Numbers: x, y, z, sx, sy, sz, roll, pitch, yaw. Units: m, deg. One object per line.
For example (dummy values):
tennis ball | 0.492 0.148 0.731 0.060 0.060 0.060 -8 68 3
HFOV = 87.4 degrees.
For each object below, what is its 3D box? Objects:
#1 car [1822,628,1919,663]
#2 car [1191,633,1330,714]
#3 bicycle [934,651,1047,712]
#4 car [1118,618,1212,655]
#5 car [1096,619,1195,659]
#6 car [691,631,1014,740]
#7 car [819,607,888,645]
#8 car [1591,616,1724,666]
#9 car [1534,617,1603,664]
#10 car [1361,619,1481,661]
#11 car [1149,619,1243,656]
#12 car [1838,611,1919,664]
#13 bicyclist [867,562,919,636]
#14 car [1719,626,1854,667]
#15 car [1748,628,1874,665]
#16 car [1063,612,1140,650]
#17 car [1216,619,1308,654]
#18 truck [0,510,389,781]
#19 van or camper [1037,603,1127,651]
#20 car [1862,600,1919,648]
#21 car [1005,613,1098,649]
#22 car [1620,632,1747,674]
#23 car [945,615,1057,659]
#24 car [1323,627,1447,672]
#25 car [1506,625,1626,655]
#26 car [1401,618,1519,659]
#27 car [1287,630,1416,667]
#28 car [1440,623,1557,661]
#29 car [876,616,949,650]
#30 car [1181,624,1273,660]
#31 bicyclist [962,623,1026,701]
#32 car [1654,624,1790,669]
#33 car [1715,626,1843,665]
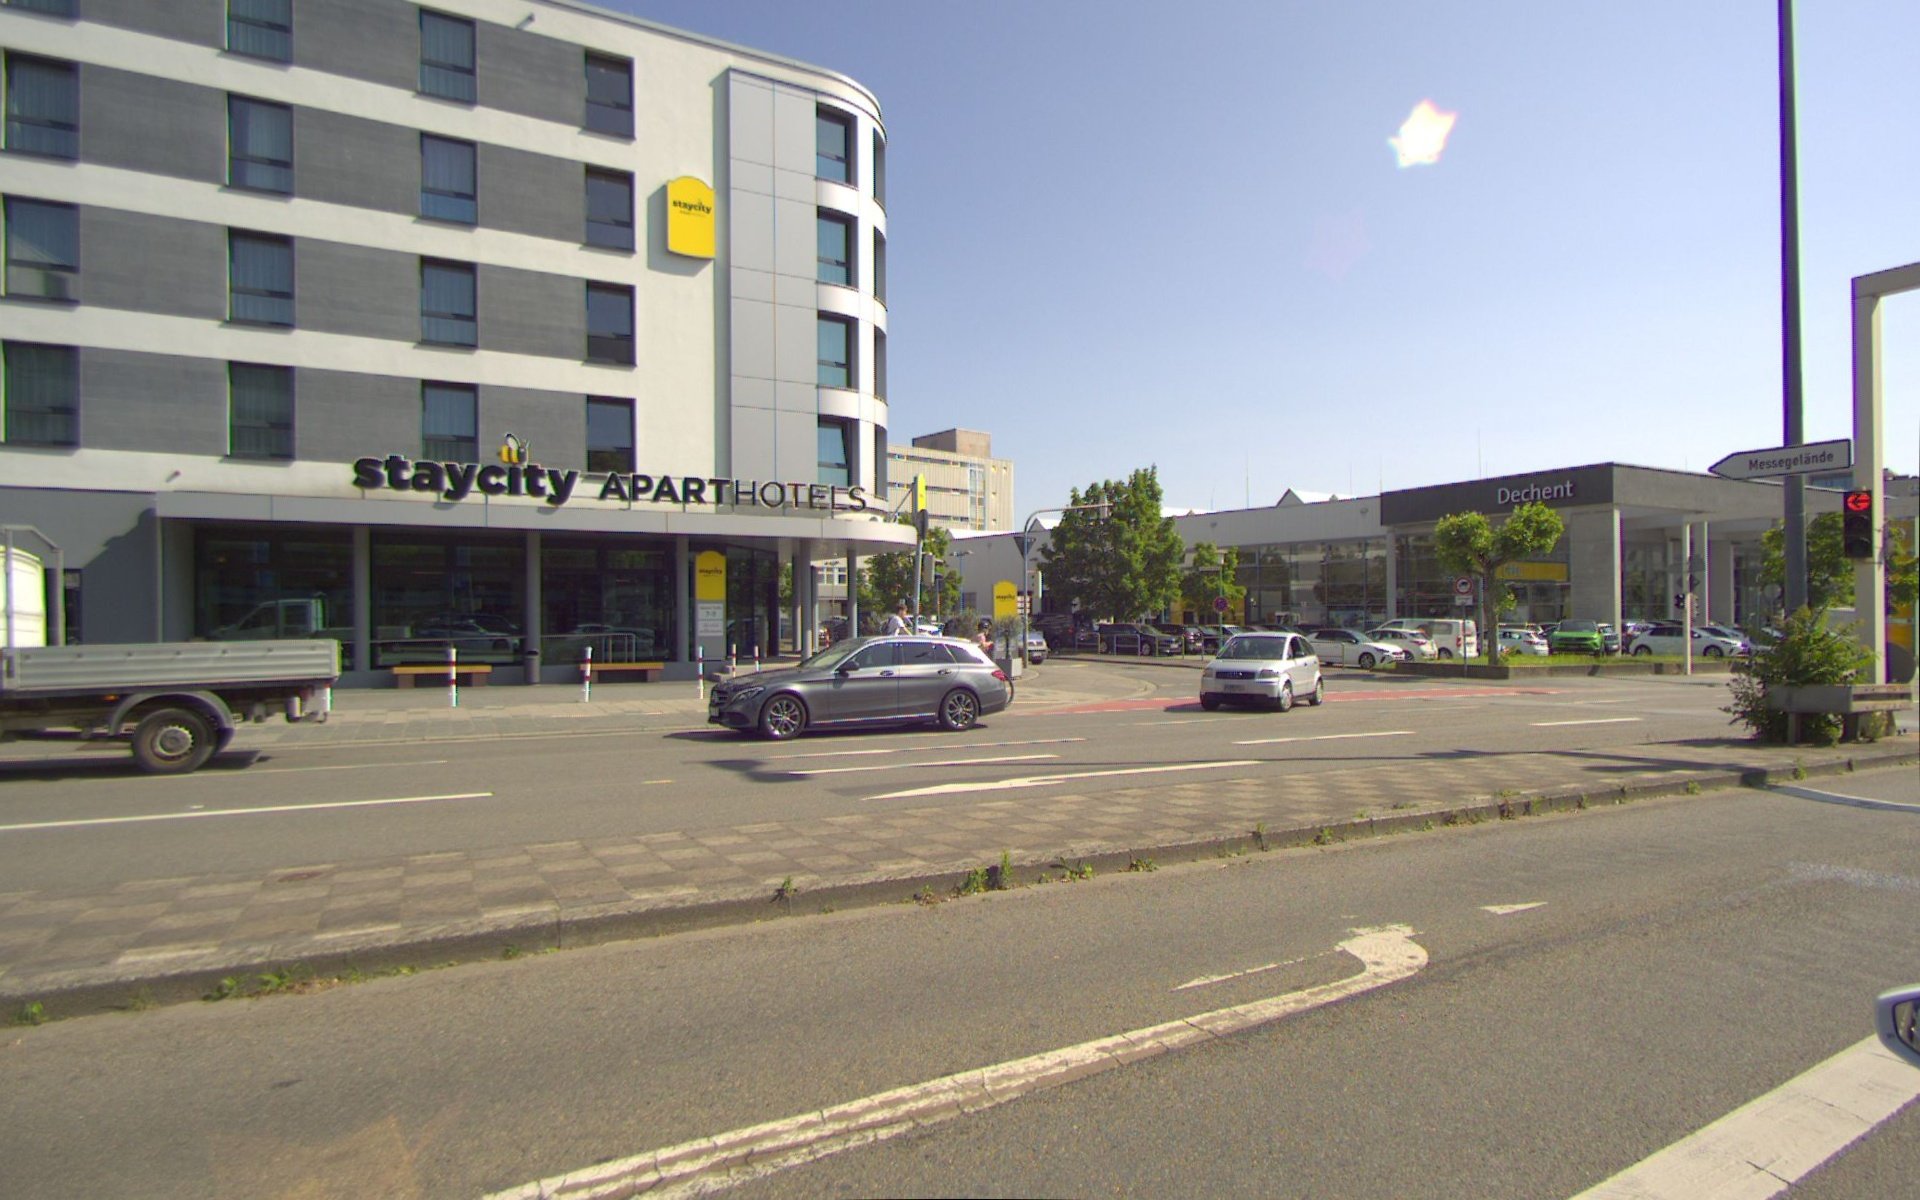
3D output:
car | 47.008 2.290 51.124 1.973 1.719 4.345 1 -1 -24
car | 6.225 1.419 20.542 1.747 1.457 3.906 0 -2 32
bicycle | 0.605 1.577 19.736 2.133 1.131 0.765 1 -1 -26
car | 9.821 1.736 48.390 1.980 1.719 4.328 1 -2 -35
car | 8.425 1.751 45.887 1.980 1.719 4.328 1 -2 -35
car | -1.612 1.245 15.352 4.529 1.446 1.948 1 -4 -29
car | -6.767 1.621 63.475 1.985 2.158 4.565 2 0 -42
car | 27.343 1.574 39.490 1.978 1.862 3.849 1 -2 -32
car | 23.985 1.609 39.714 1.870 1.756 3.293 0 -3 23
car | 19.826 1.703 43.336 1.982 1.719 4.323 1 -2 -38
car | 11.616 1.816 49.724 1.980 1.719 4.328 1 -2 -35
car | 49.078 1.934 52.390 2.096 2.720 4.490 1 -1 -21
bicyclist | -1.376 -0.004 20.504 1.007 1.479 0.770 0 -1 -6
car | 37.430 2.077 45.591 1.978 1.719 4.333 1 -1 -32
car | 41.573 2.230 49.180 1.978 1.719 4.333 1 -2 -32
car | 7.747 1.696 55.299 1.983 2.040 3.956 1 -2 -38
car | 15.803 1.883 52.689 1.982 1.719 4.324 1 -2 -37
truck | -9.707 0.489 10.615 6.362 2.578 2.346 1 -3 -31
van or camper | 6.395 1.420 52.994 1.983 2.432 4.678 1 -2 -38
car | 53.228 1.350 55.753 1.973 2.635 4.345 1 -1 -24
car | 4.556 1.521 50.242 4.304 1.719 1.991 -1 -2 39
car | 30.395 2.206 42.293 1.981 1.620 3.959 1 -2 -36
car | 1.634 1.504 41.554 1.984 1.737 4.773 2 -2 -40
car | 17.423 1.987 41.363 1.980 1.719 4.328 1 -2 -35
car | 27.857 1.836 46.263 1.982 1.284 4.325 4 -4 -37
car | 22.270 1.698 44.904 1.982 1.719 4.323 1 -2 -38
car | 15.127 1.860 39.033 1.980 1.317 4.328 1 -2 -35
car | 24.543 1.871 45.876 1.982 1.612 4.325 1 -2 -37
car | -2.818 1.918 59.393 1.971 1.815 4.376 2 0 -42
car | 13.668 2.125 51.606 1.980 1.719 4.328 1 -2 -35
bicyclist | 0.665 1.199 19.777 1.013 1.479 0.765 1 -1 -26
car | 32.842 1.961 43.403 1.978 1.789 4.274 1 -2 -32
car | 38.823 2.133 47.714 1.978 1.719 4.333 1 -2 -32
